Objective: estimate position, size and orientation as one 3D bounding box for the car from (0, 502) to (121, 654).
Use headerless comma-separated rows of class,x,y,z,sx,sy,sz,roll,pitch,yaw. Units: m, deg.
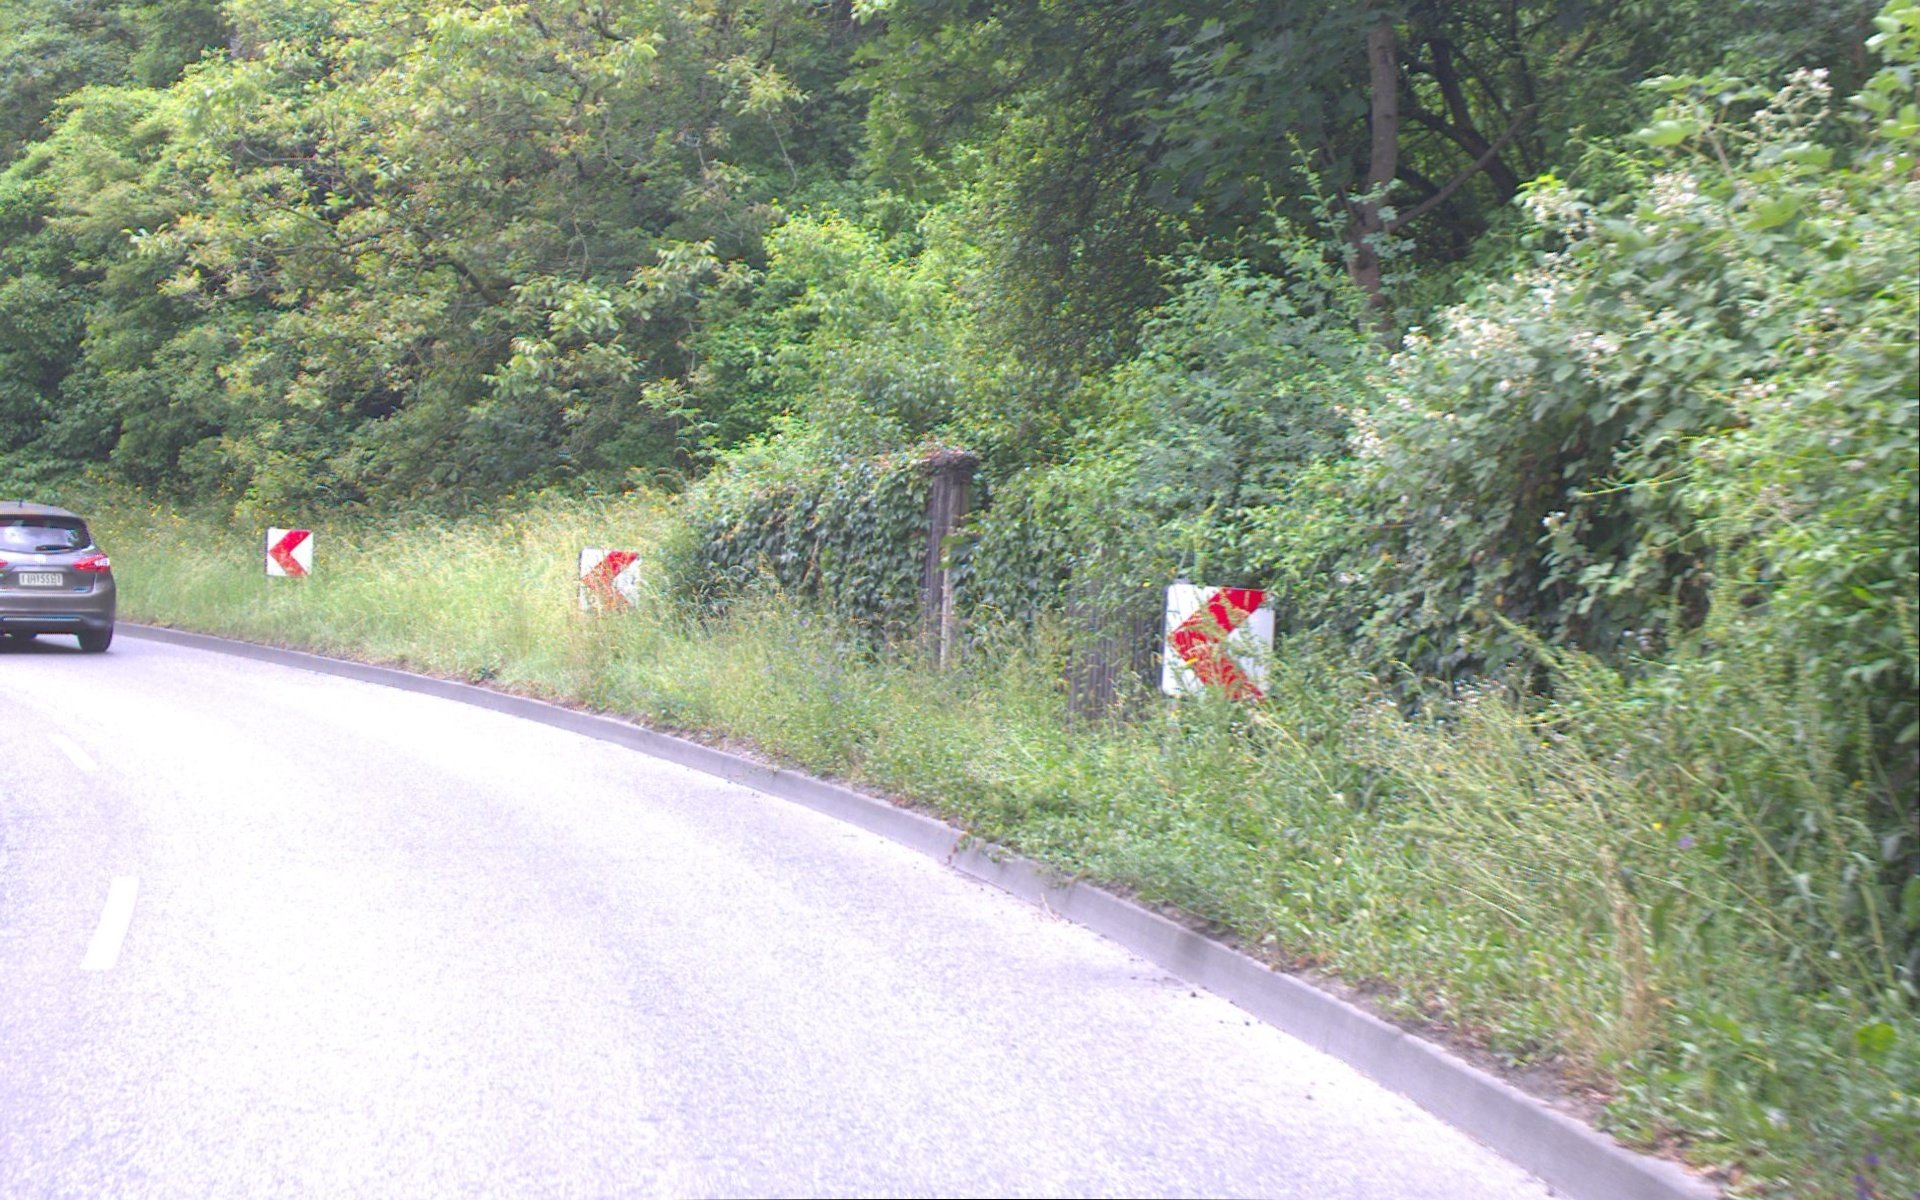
car,-10.176,-0.271,35.858,1.839,1.478,4.001,-1,2,-28
